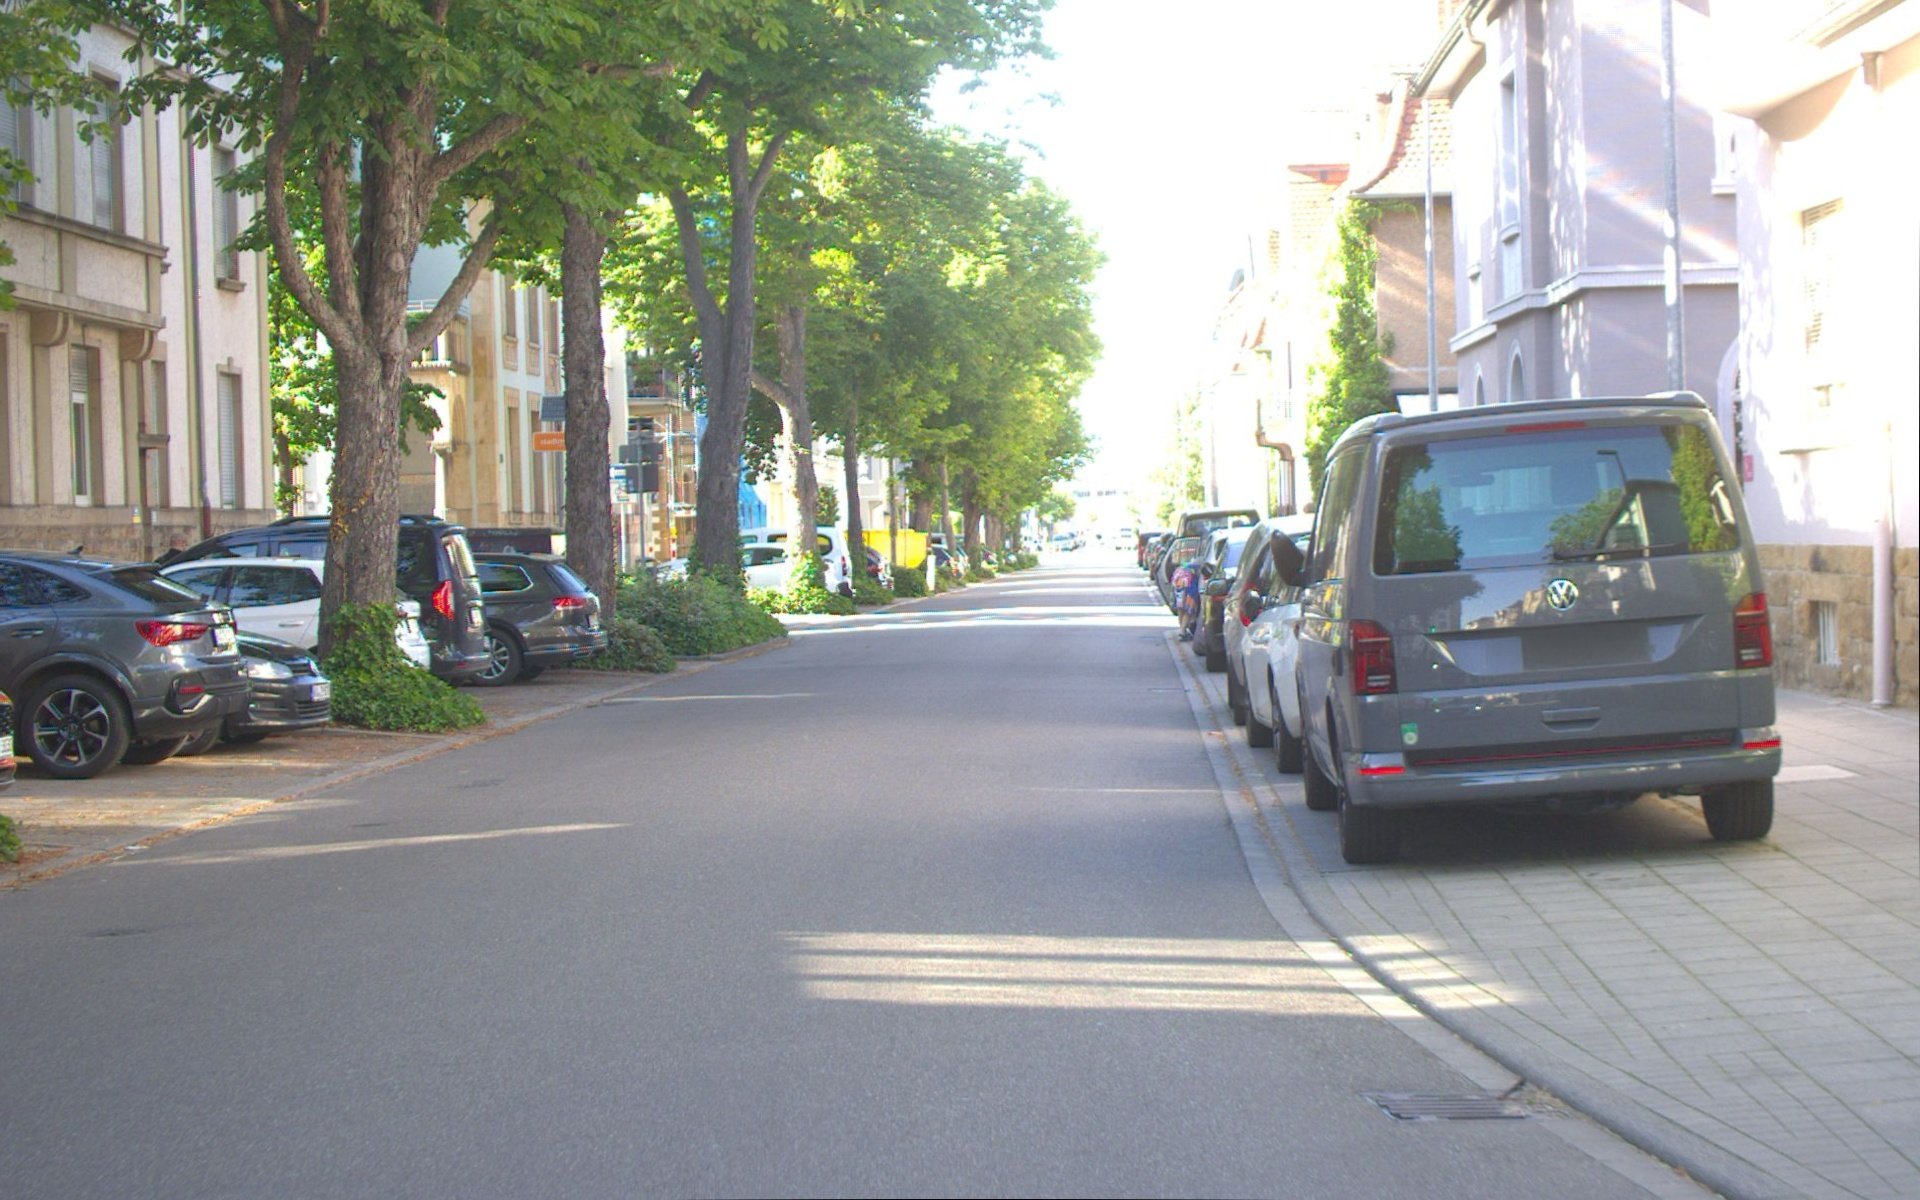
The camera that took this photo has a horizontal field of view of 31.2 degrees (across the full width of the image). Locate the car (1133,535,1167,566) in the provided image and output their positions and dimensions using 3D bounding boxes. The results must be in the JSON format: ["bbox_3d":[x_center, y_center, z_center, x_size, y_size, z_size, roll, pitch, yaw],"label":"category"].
[{"bbox_3d":[10.342,-2.711,187.215,1.771,1.625,3.866,-1,1,4],"label":"car"}]

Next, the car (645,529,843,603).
[{"bbox_3d":[-4.436,-0.702,71.072,3.987,1.459,1.798,1,0,-1],"label":"car"}]

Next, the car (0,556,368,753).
[{"bbox_3d":[-6.750,0.400,26.579,3.903,1.441,1.859,0,1,8],"label":"car"}]

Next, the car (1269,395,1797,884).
[{"bbox_3d":[2.568,0.111,16.528,1.865,1.909,4.782,-3,1,3],"label":"car"}]

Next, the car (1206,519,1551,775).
[{"bbox_3d":[2.635,0.232,22.551,1.679,1.452,4.439,-2,1,0],"label":"car"}]

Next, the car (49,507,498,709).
[{"bbox_3d":[-6.671,0.064,33.681,3.979,1.849,1.829,-1,1,2],"label":"car"}]

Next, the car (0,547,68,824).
[{"bbox_3d":[-7.222,0.487,19.198,3.987,1.509,1.747,-1,0,3],"label":"car"}]

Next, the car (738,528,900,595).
[{"bbox_3d":[-3.588,-0.982,87.054,3.986,1.546,1.838,-2,1,-5],"label":"car"}]

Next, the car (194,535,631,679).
[{"bbox_3d":[-6.066,0.064,38.463,4.532,1.498,1.892,-1,1,2],"label":"car"}]

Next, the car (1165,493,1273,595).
[{"bbox_3d":[5.200,-1.148,69.508,1.904,1.864,4.673,-4,1,3],"label":"car"}]

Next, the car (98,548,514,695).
[{"bbox_3d":[-6.805,0.208,36.079,3.979,1.432,1.829,-1,1,1],"label":"car"}]

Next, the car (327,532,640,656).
[{"bbox_3d":[-6.000,-0.087,43.552,3.674,1.482,1.641,-1,1,2],"label":"car"}]

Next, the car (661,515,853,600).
[{"bbox_3d":[-4.296,-0.906,73.247,3.987,1.755,1.798,1,1,-1],"label":"car"}]

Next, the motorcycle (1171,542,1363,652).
[{"bbox_3d":[3.822,-0.043,42.853,2.192,1.334,0.922,0,2,-12],"label":"motorcycle"}]

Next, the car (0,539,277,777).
[{"bbox_3d":[-6.983,0.381,24.074,3.987,1.587,1.859,0,1,2],"label":"car"}]

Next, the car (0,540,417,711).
[{"bbox_3d":[-7.077,0.217,31.296,3.987,1.443,1.742,-1,1,-1],"label":"car"}]

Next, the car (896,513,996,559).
[{"bbox_3d":[-0.561,-2.695,144.478,4.007,1.834,2.000,1,2,5],"label":"car"}]

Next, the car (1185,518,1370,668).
[{"bbox_3d":[3.513,-0.128,38.677,1.854,1.488,4.607,-3,1,4],"label":"car"}]

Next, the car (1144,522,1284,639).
[{"bbox_3d":[3.667,-0.313,50.199,1.699,1.534,4.155,-4,1,1],"label":"car"}]

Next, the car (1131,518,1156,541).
[{"bbox_3d":[13.379,-5.114,250.226,1.771,1.625,3.866,-1,1,4],"label":"car"}]

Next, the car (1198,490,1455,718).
[{"bbox_3d":[2.893,0.004,27.866,1.789,1.595,4.000,-4,1,4],"label":"car"}]
